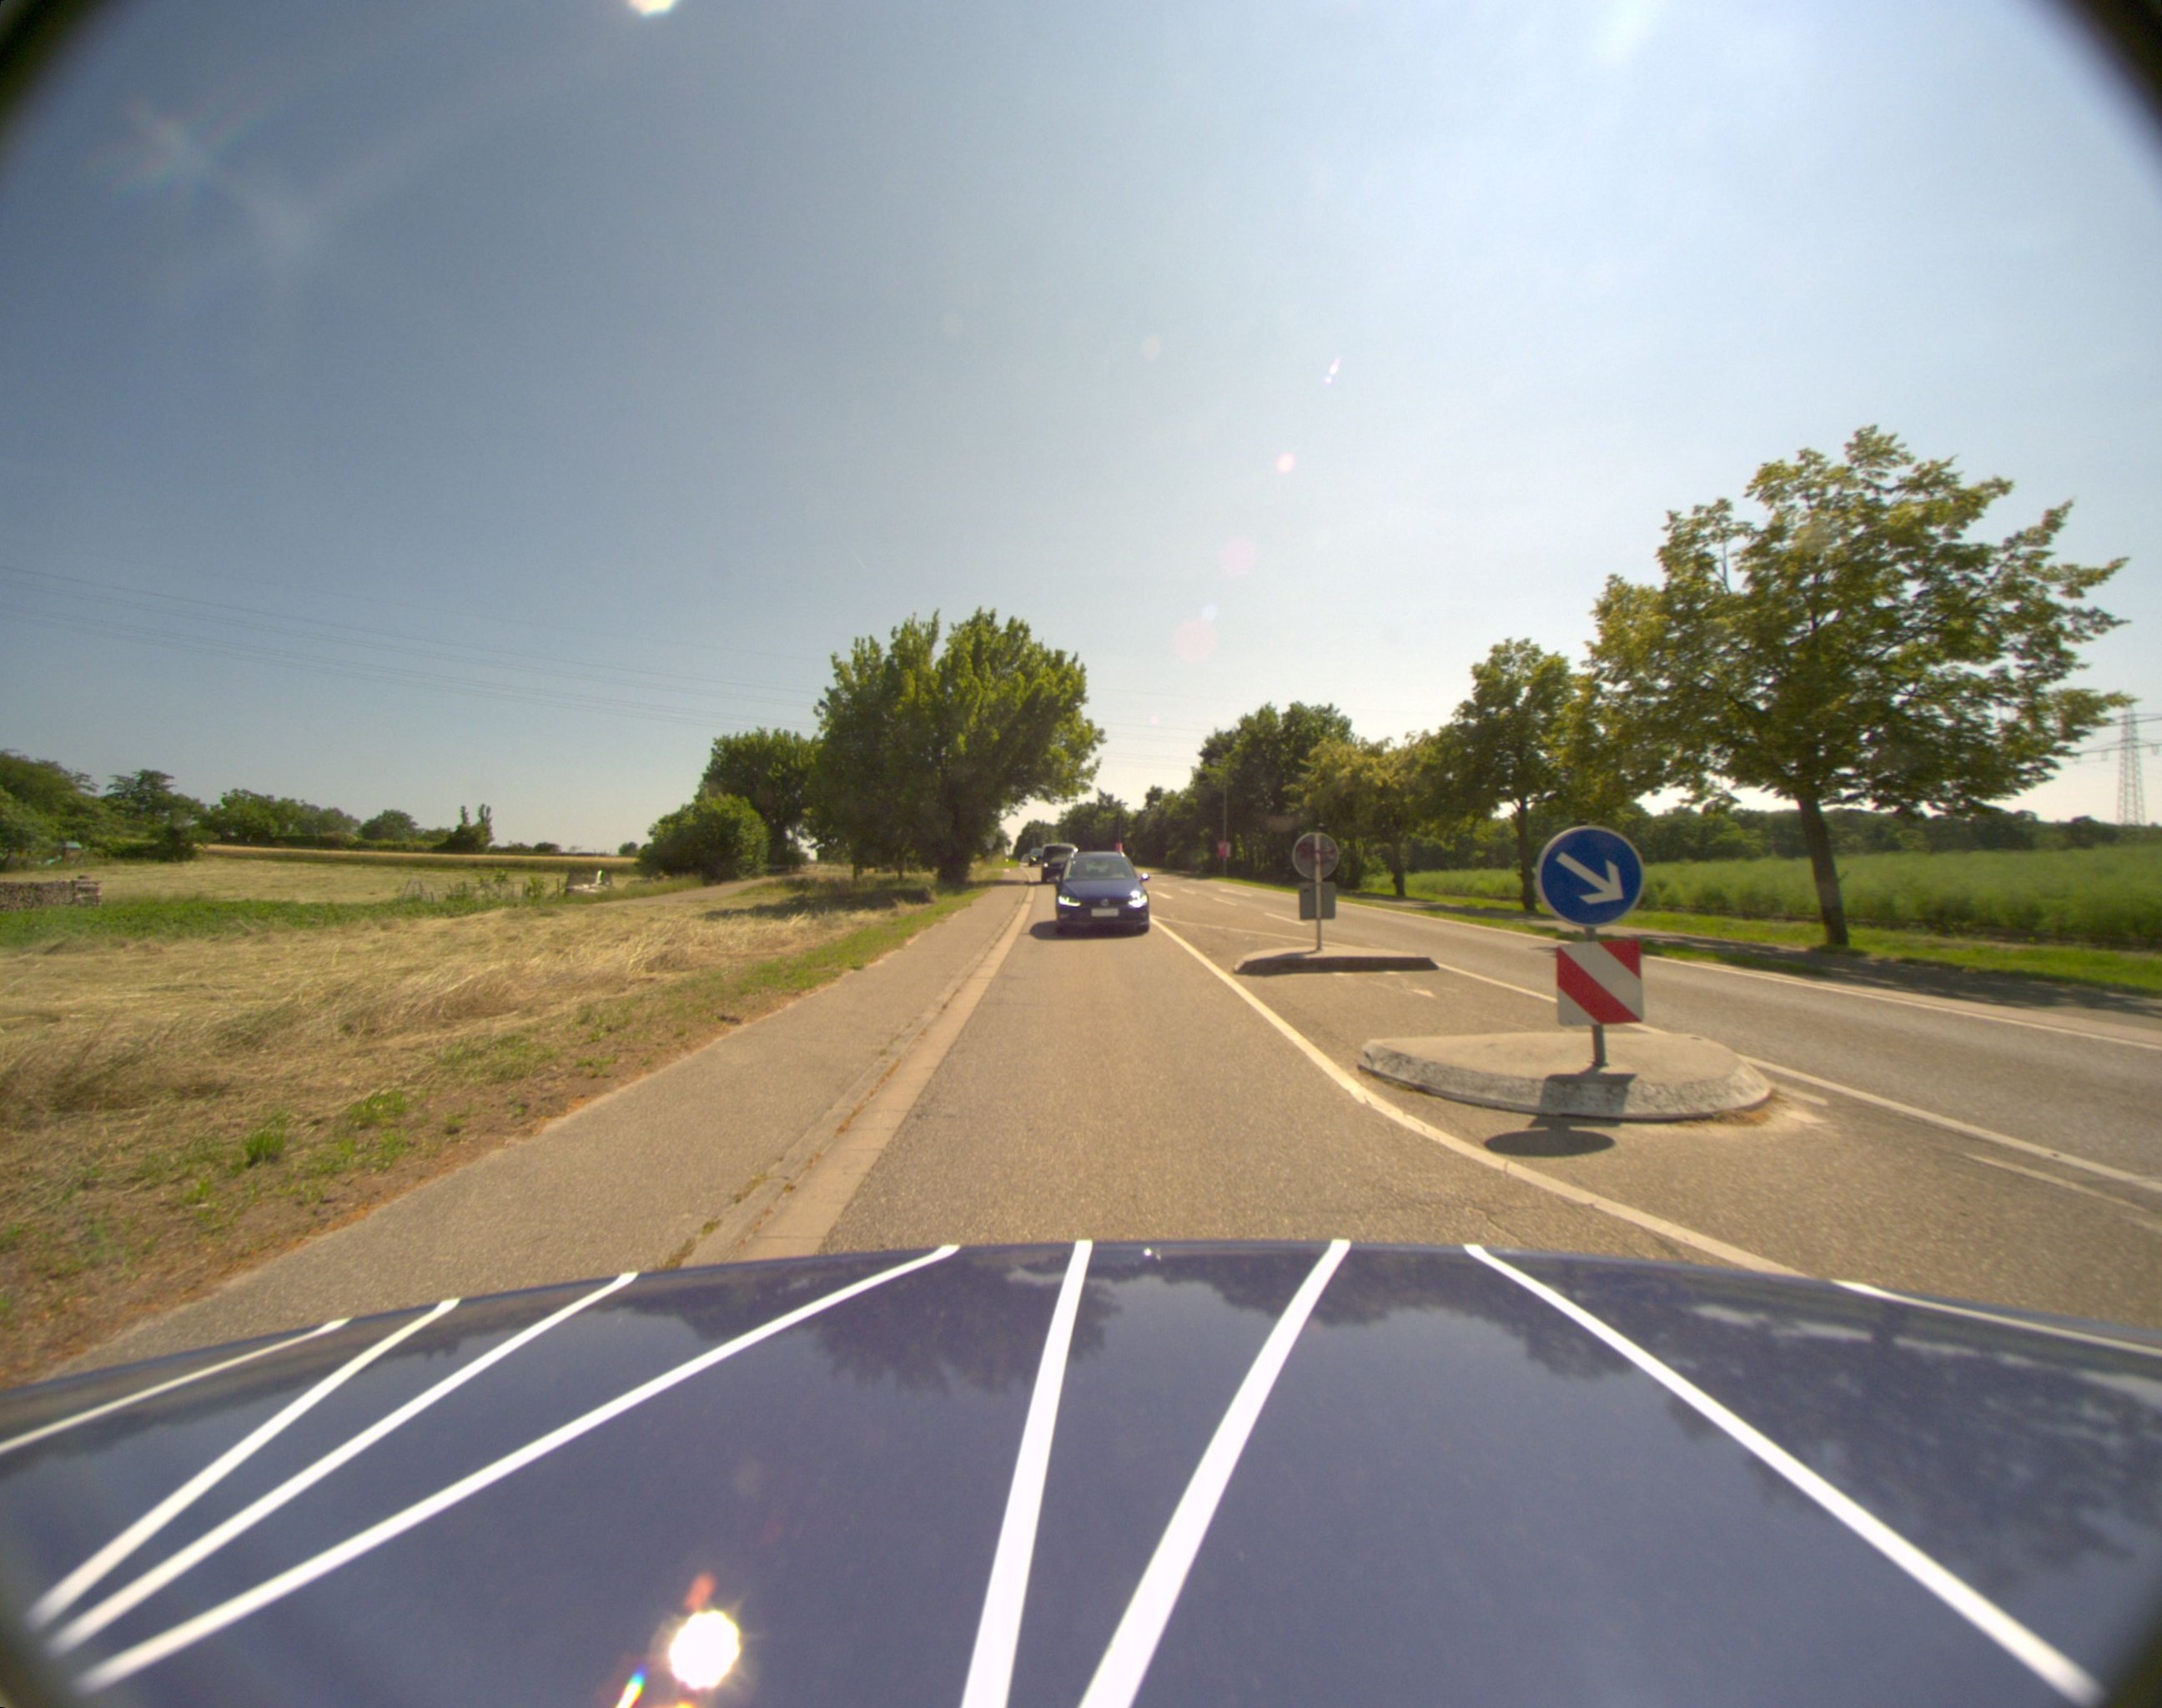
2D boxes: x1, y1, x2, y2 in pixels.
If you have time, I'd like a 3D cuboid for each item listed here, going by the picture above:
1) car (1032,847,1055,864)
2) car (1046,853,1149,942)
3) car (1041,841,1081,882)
[{"bbox_3d":[-3.525,0.135,70.982,1.766,1.530,3.682,0,0,-9],"label":"car"},{"bbox_3d":[0.206,0.785,15.972,1.765,1.520,4.420,-2,1,-4],"label":"car"},{"bbox_3d":[-1.069,0.352,38.843,1.765,1.953,4.260,-2,0,-4],"label":"car"}]
